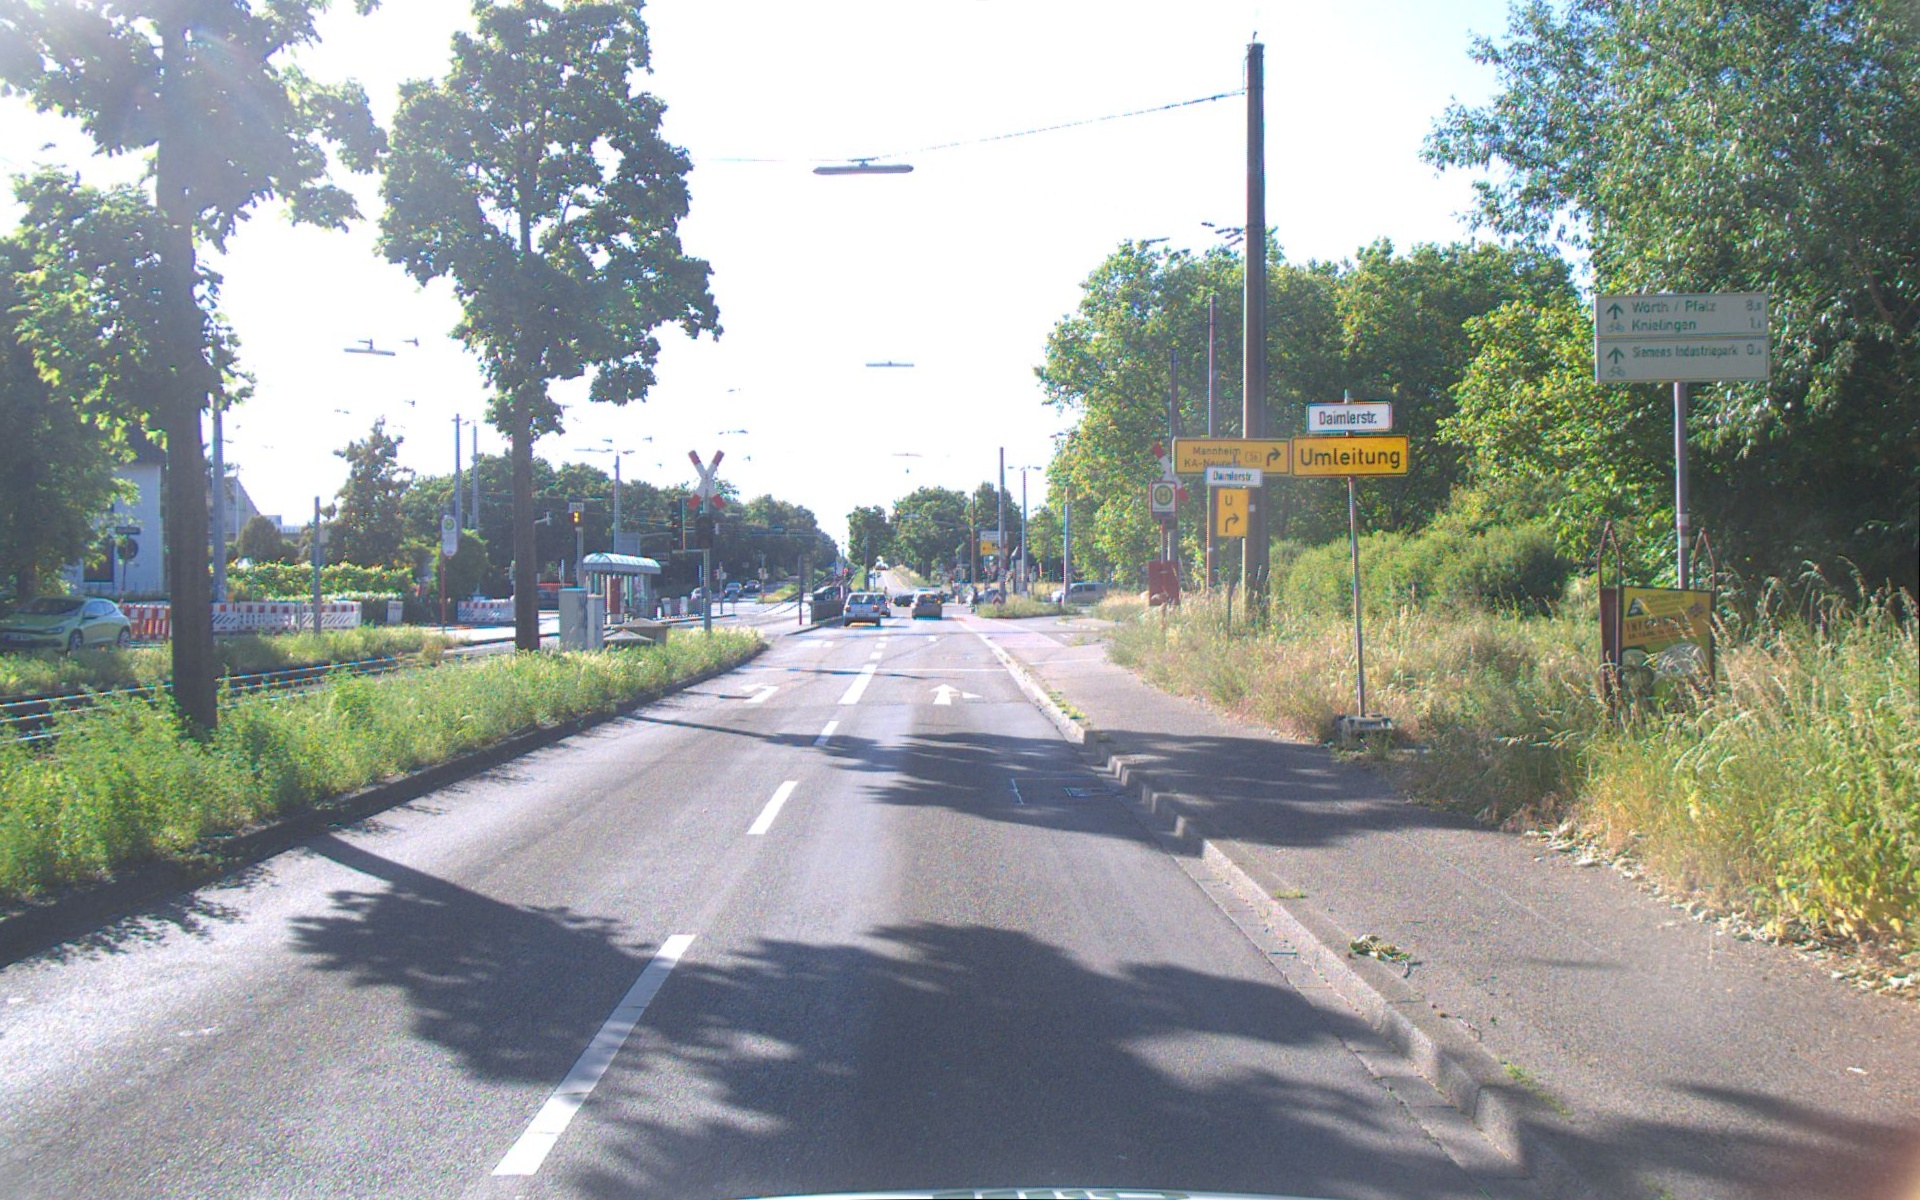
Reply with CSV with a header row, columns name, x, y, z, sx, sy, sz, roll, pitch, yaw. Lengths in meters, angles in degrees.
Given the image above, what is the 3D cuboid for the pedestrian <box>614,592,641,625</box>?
name,x,y,z,sx,sy,sz,roll,pitch,yaw
pedestrian,-15.377,0.384,76.528,1.039,1.478,1.007,-1,0,-2

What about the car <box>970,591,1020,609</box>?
name,x,y,z,sx,sy,sz,roll,pitch,yaw
car,3.056,-0.012,144.452,3.932,1.499,1.739,1,0,-23

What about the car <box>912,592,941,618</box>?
name,x,y,z,sx,sy,sz,roll,pitch,yaw
car,-1.942,0.270,95.771,1.634,1.487,3.585,0,0,-1

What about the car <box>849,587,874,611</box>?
name,x,y,z,sx,sy,sz,roll,pitch,yaw
car,-8.717,-0.085,146.081,1.953,2.049,4.490,1,0,-1

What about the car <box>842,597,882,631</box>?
name,x,y,z,sx,sy,sz,roll,pitch,yaw
car,-4.273,0.615,72.579,1.586,1.442,3.350,-1,0,-1

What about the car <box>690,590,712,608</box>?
name,x,y,z,sx,sy,sz,roll,pitch,yaw
car,-23.184,-0.086,148.122,1.798,1.575,3.993,-1,0,-8

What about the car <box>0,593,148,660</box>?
name,x,y,z,sx,sy,sz,roll,pitch,yaw
car,-21.847,0.626,40.453,1.953,1.527,4.068,1,0,0

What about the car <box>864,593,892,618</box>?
name,x,y,z,sx,sy,sz,roll,pitch,yaw
car,-4.990,0.313,100.959,1.586,1.482,4.084,1,0,-1

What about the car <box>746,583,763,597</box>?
name,x,y,z,sx,sy,sz,roll,pitch,yaw
car,-25.228,-1.237,202.527,1.956,1.632,4.746,1,1,-8

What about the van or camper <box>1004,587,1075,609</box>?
name,x,y,z,sx,sy,sz,roll,pitch,yaw
van or camper,6.716,-0.146,139.932,5.851,1.860,1.998,0,0,-5
